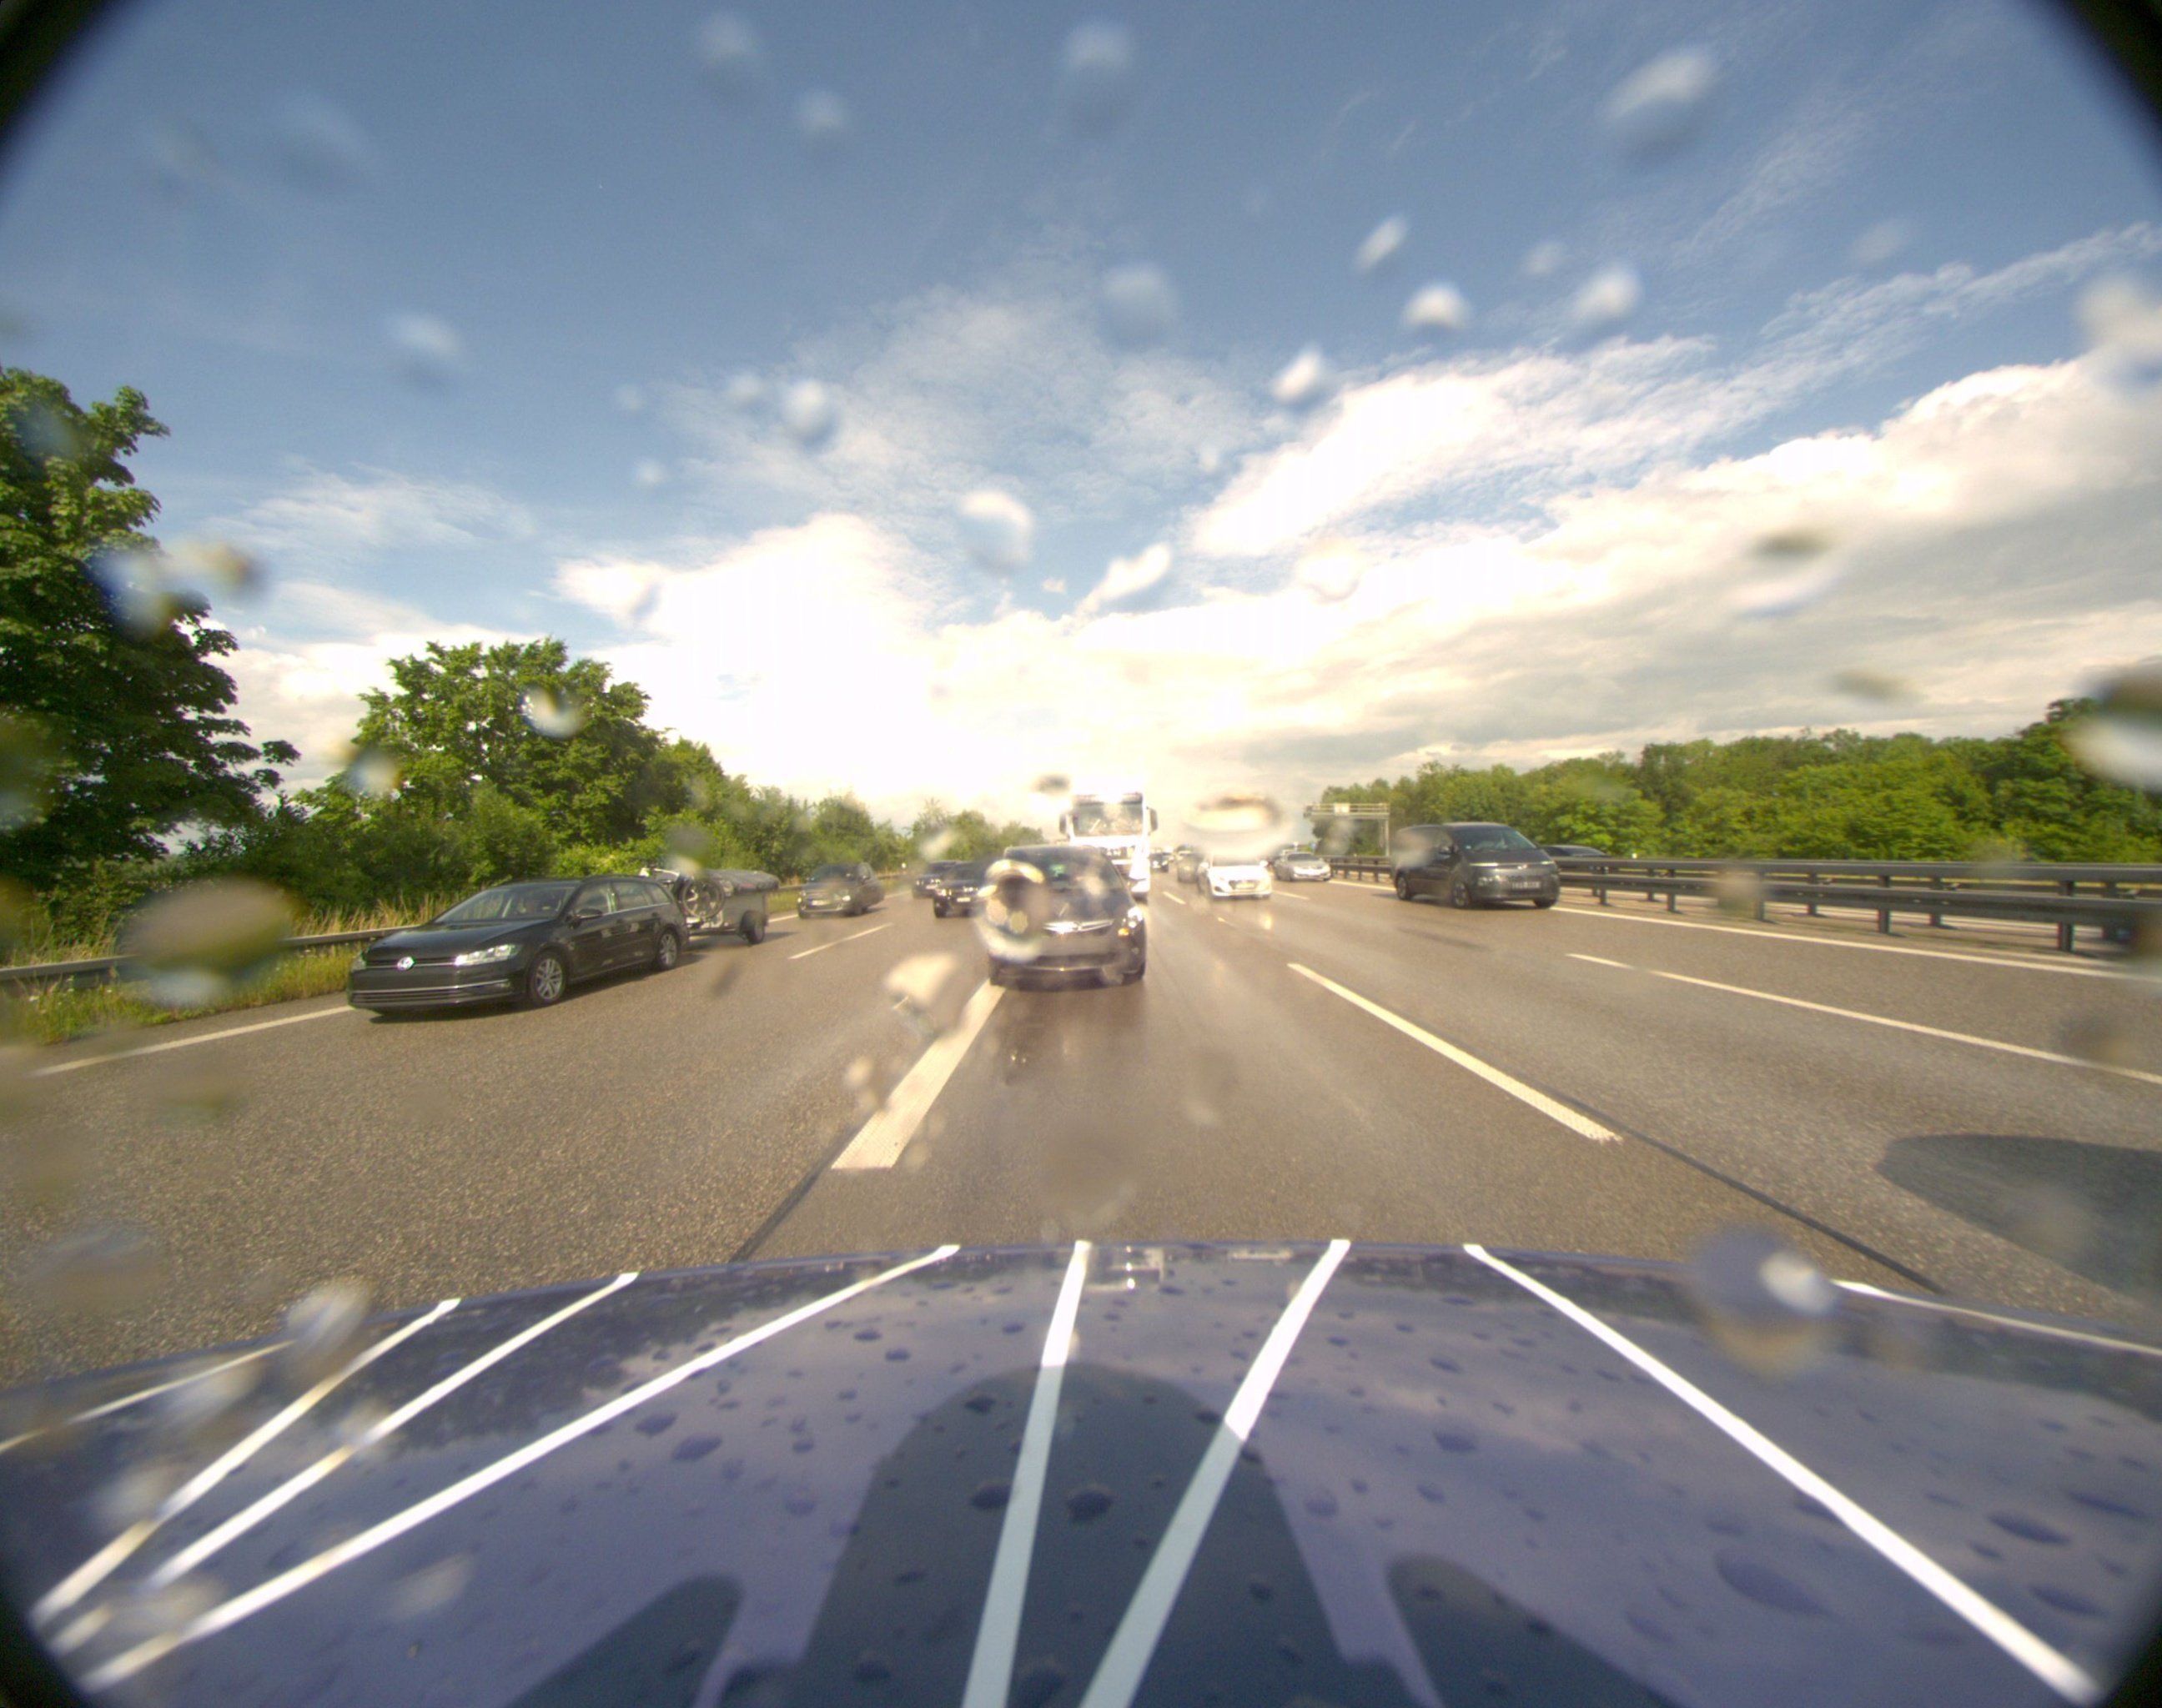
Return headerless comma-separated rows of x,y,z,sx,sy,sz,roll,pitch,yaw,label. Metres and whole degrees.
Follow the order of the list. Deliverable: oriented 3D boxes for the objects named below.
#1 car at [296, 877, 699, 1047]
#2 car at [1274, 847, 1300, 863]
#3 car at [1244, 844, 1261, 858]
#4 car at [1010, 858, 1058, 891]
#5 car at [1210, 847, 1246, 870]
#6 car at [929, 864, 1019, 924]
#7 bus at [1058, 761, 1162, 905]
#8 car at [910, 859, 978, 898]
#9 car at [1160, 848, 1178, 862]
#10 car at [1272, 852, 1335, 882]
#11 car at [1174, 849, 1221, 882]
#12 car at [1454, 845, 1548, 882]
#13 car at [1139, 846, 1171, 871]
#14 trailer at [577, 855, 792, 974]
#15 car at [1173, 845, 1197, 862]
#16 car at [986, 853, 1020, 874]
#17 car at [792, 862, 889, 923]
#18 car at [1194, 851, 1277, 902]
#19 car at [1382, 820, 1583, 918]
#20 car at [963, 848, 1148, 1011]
-6.736,1.106,9.550,1.748,1.422,4.403,-2,0,-3,car
22.390,0.129,82.798,1.738,1.641,3.810,-2,0,0,car
26.719,-0.456,118.515,1.998,2.002,4.364,-2,0,4,car
-2.091,0.895,34.716,1.743,1.357,4.000,-2,0,3,car
9.585,0.272,49.695,1.618,1.412,4.000,-2,0,1,car
-2.752,0.998,20.377,1.722,1.346,3.884,-2,0,1,car
0.975,-0.643,27.199,2.904,4.104,9.845,-2,0,1,bus
-5.484,0.940,30.988,1.771,1.343,4.580,-2,1,2,car
11.526,0.155,100.149,1.900,1.740,3.999,-2,1,0,car
9.669,0.528,33.314,1.856,1.182,3.583,-2,0,3,car
5.418,0.497,35.818,1.597,1.390,4.000,-2,0,1,car
20.696,0.422,37.704,1.998,1.675,4.826,-2,0,0,car
5.337,0.277,54.998,1.889,1.707,3.999,-2,1,0,car
-6.896,0.938,13.749,1.810,1.736,3.966,-3,1,-2,trailer
10.749,-0.070,79.059,1.900,1.740,3.999,-2,1,0,car
-5.793,0.686,56.885,1.998,1.481,4.249,-2,1,0,car
-6.740,1.027,21.652,1.616,1.480,3.481,-2,1,0,car
4.668,0.621,23.529,1.809,1.389,4.240,-1,0,2,car
9.131,0.281,17.944,1.998,1.906,5.236,-2,0,1,car
-0.445,0.769,10.236,1.859,1.622,4.733,-2,0,-5,car
